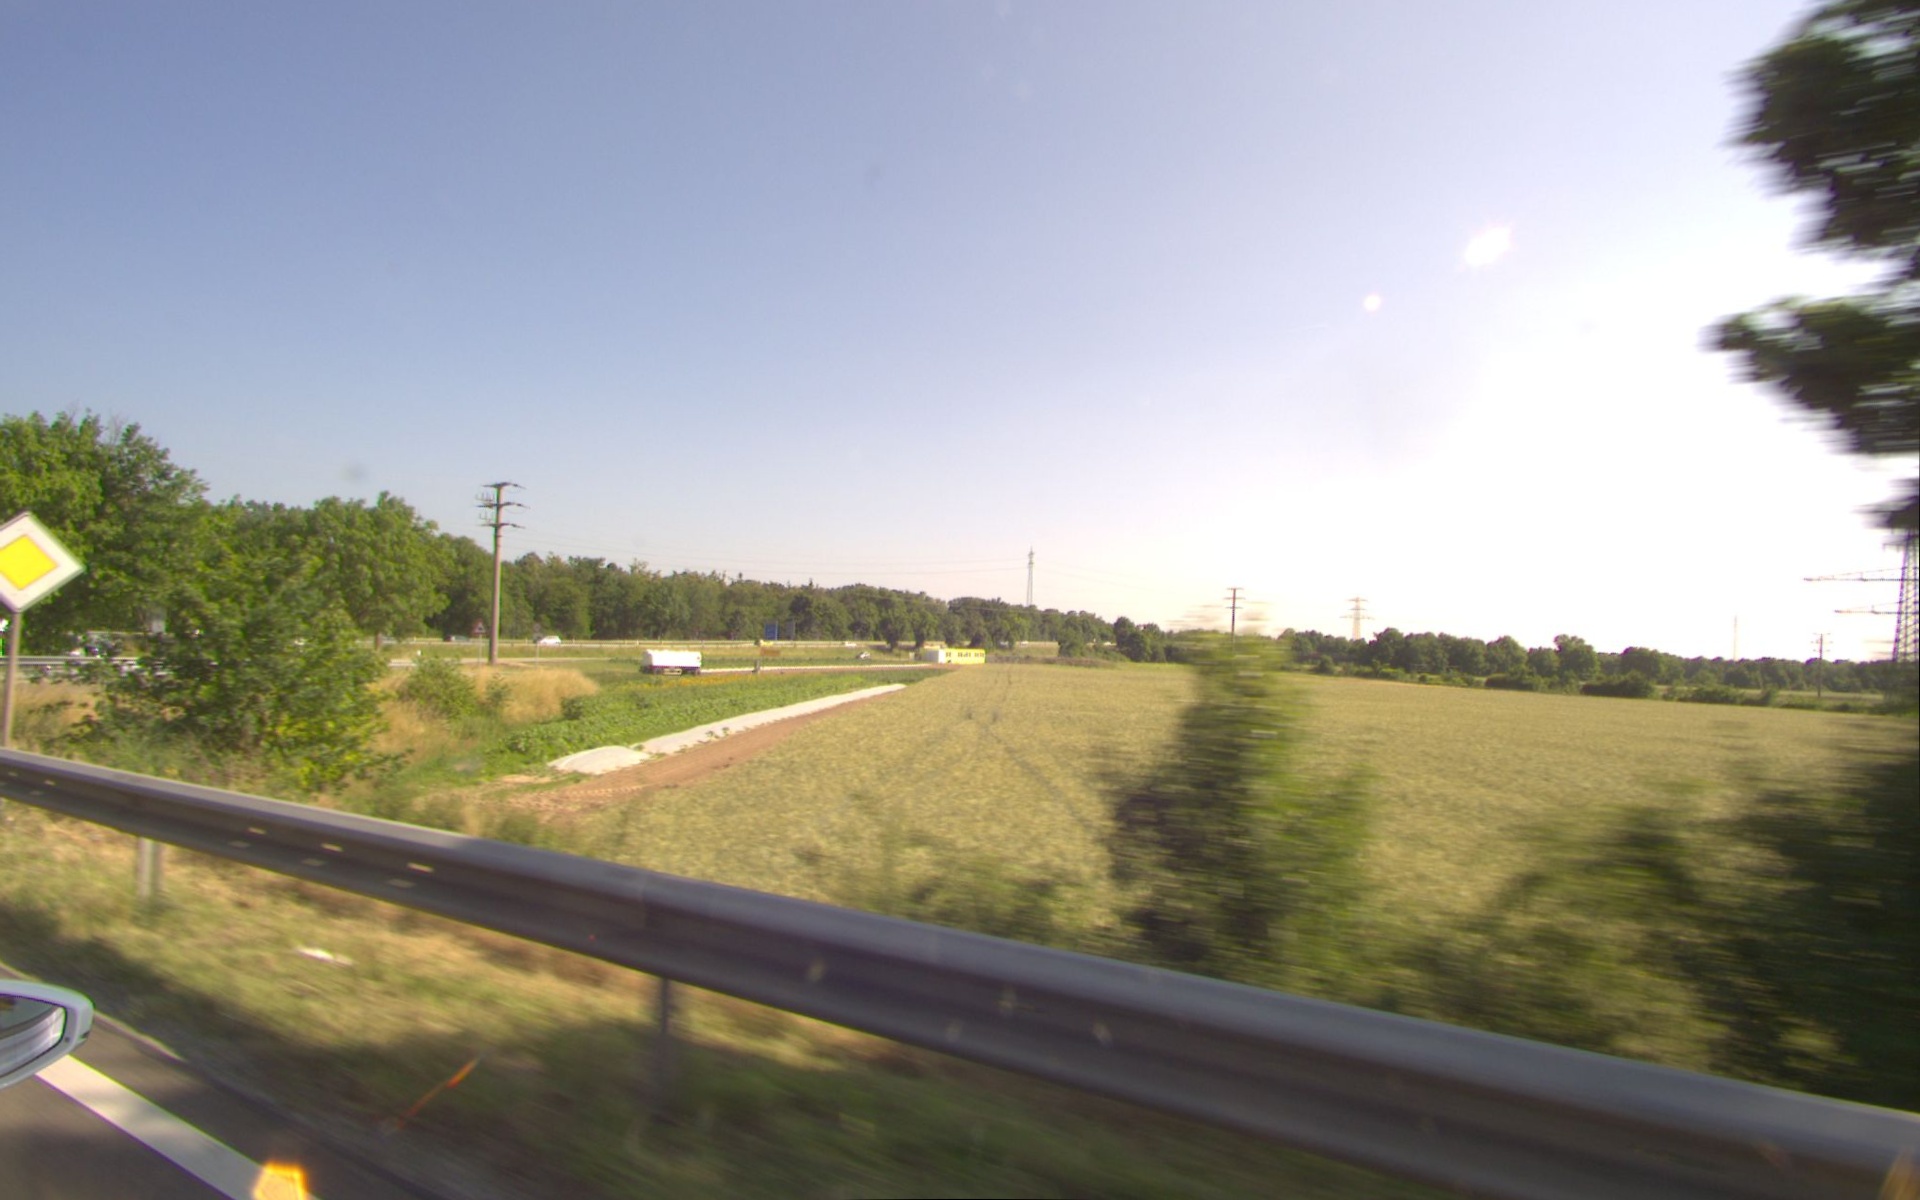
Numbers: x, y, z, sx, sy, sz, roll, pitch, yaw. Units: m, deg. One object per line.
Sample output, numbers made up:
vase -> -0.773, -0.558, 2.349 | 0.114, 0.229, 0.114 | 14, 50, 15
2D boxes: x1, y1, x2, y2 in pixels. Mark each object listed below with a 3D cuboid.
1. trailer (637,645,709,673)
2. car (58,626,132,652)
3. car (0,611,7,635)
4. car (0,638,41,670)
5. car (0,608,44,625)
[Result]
trailer -> -30.209, 6.269, 105.532 | 6.740, 2.703, 2.867 | 5, -3, -42
car -> -69.584, 3.162, 80.636 | 3.932, 1.899, 1.889 | 4, -4, -18
car -> -83.279, 1.856, 84.299 | 1.772, 2.039, 3.986 | 1, -1, 28
car -> -58.039, 3.180, 59.951 | 1.882, 1.805, 4.331 | 0, -4, 45
car -> -87.463, 1.536, 91.722 | 1.968, 1.572, 4.881 | 0, -1, 26
